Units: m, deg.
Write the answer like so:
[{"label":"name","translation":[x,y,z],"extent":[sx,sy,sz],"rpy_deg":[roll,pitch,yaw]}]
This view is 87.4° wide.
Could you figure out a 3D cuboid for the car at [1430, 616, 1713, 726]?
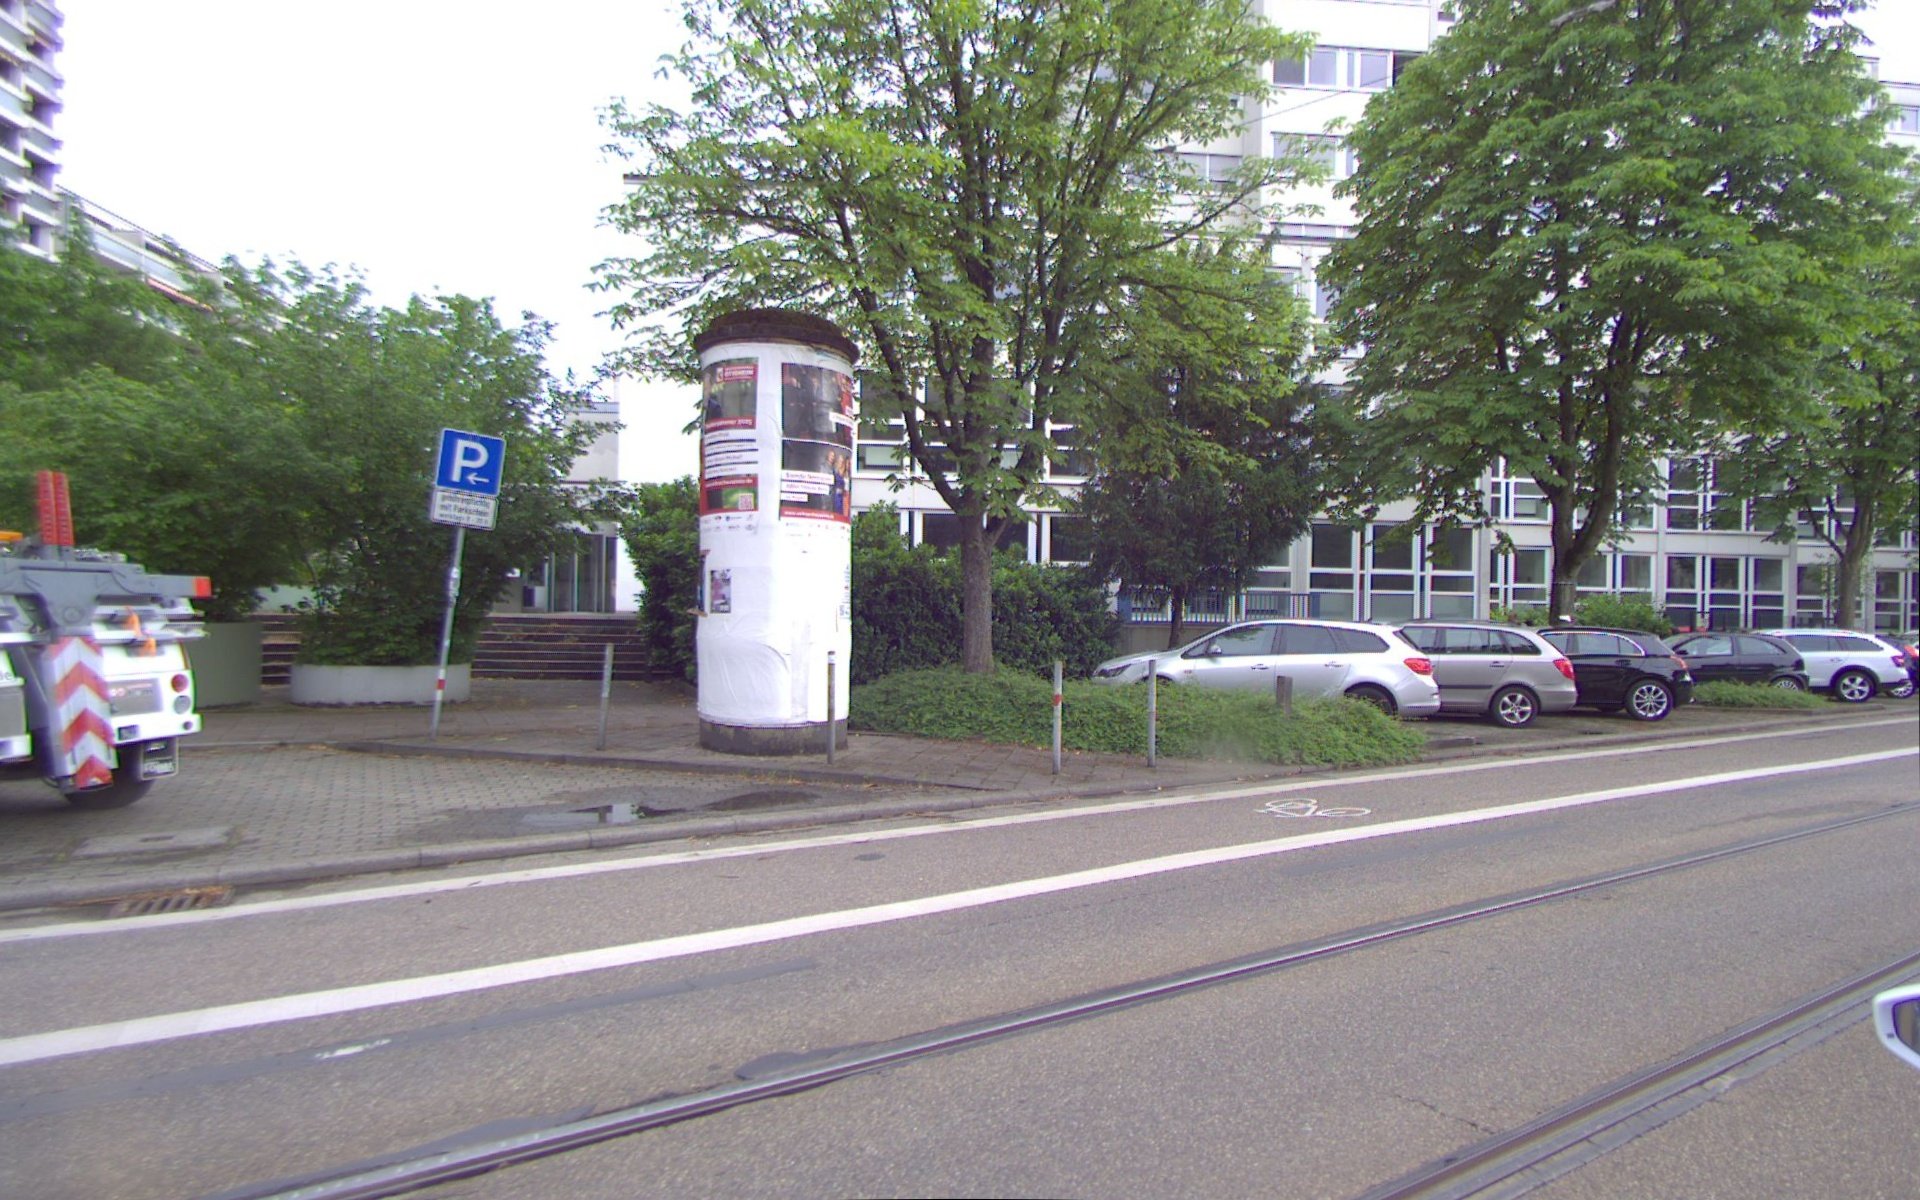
[{"label":"car","translation":[9.938,1.105,16.632],"extent":[3.631,1.544,1.700],"rpy_deg":[2,0,15]}]

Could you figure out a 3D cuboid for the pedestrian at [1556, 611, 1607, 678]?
[{"label":"pedestrian","translation":[15.902,1.130,25.717],"extent":[0.720,1.633,0.754],"rpy_deg":[3,0,-6]}]

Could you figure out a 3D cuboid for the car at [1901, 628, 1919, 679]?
[{"label":"car","translation":[31.847,1.722,30.636],"extent":[4.259,1.556,1.701],"rpy_deg":[2,0,14]}]

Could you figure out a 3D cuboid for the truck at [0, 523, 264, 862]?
[{"label":"truck","translation":[-7.551,0.469,6.718],"extent":[4.962,1.873,2.001],"rpy_deg":[1,0,15]}]

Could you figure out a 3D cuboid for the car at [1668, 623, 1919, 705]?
[{"label":"car","translation":[18.240,1.353,22.148],"extent":[3.950,1.504,1.699],"rpy_deg":[2,0,22]}]

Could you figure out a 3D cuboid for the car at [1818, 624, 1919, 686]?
[{"label":"car","translation":[26.317,1.524,27.291],"extent":[4.258,1.577,1.701],"rpy_deg":[2,0,11]}]

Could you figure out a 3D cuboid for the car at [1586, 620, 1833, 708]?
[{"label":"car","translation":[15.198,1.249,20.584],"extent":[3.631,1.544,1.700],"rpy_deg":[2,0,15]}]

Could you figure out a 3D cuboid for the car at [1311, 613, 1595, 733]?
[{"label":"car","translation":[7.286,1.031,15.207],"extent":[3.578,1.544,1.573],"rpy_deg":[2,0,15]}]

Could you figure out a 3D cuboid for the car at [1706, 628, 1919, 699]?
[{"label":"car","translation":[20.388,1.468,23.833],"extent":[3.950,1.424,1.699],"rpy_deg":[2,0,22]}]

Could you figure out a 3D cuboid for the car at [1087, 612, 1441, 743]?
[{"label":"car","translation":[4.020,0.984,13.820],"extent":[4.342,1.484,1.805],"rpy_deg":[2,0,11]}]

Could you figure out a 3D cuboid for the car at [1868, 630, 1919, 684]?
[{"label":"car","translation":[29.128,1.680,28.788],"extent":[4.259,1.473,1.701],"rpy_deg":[2,0,14]}]
